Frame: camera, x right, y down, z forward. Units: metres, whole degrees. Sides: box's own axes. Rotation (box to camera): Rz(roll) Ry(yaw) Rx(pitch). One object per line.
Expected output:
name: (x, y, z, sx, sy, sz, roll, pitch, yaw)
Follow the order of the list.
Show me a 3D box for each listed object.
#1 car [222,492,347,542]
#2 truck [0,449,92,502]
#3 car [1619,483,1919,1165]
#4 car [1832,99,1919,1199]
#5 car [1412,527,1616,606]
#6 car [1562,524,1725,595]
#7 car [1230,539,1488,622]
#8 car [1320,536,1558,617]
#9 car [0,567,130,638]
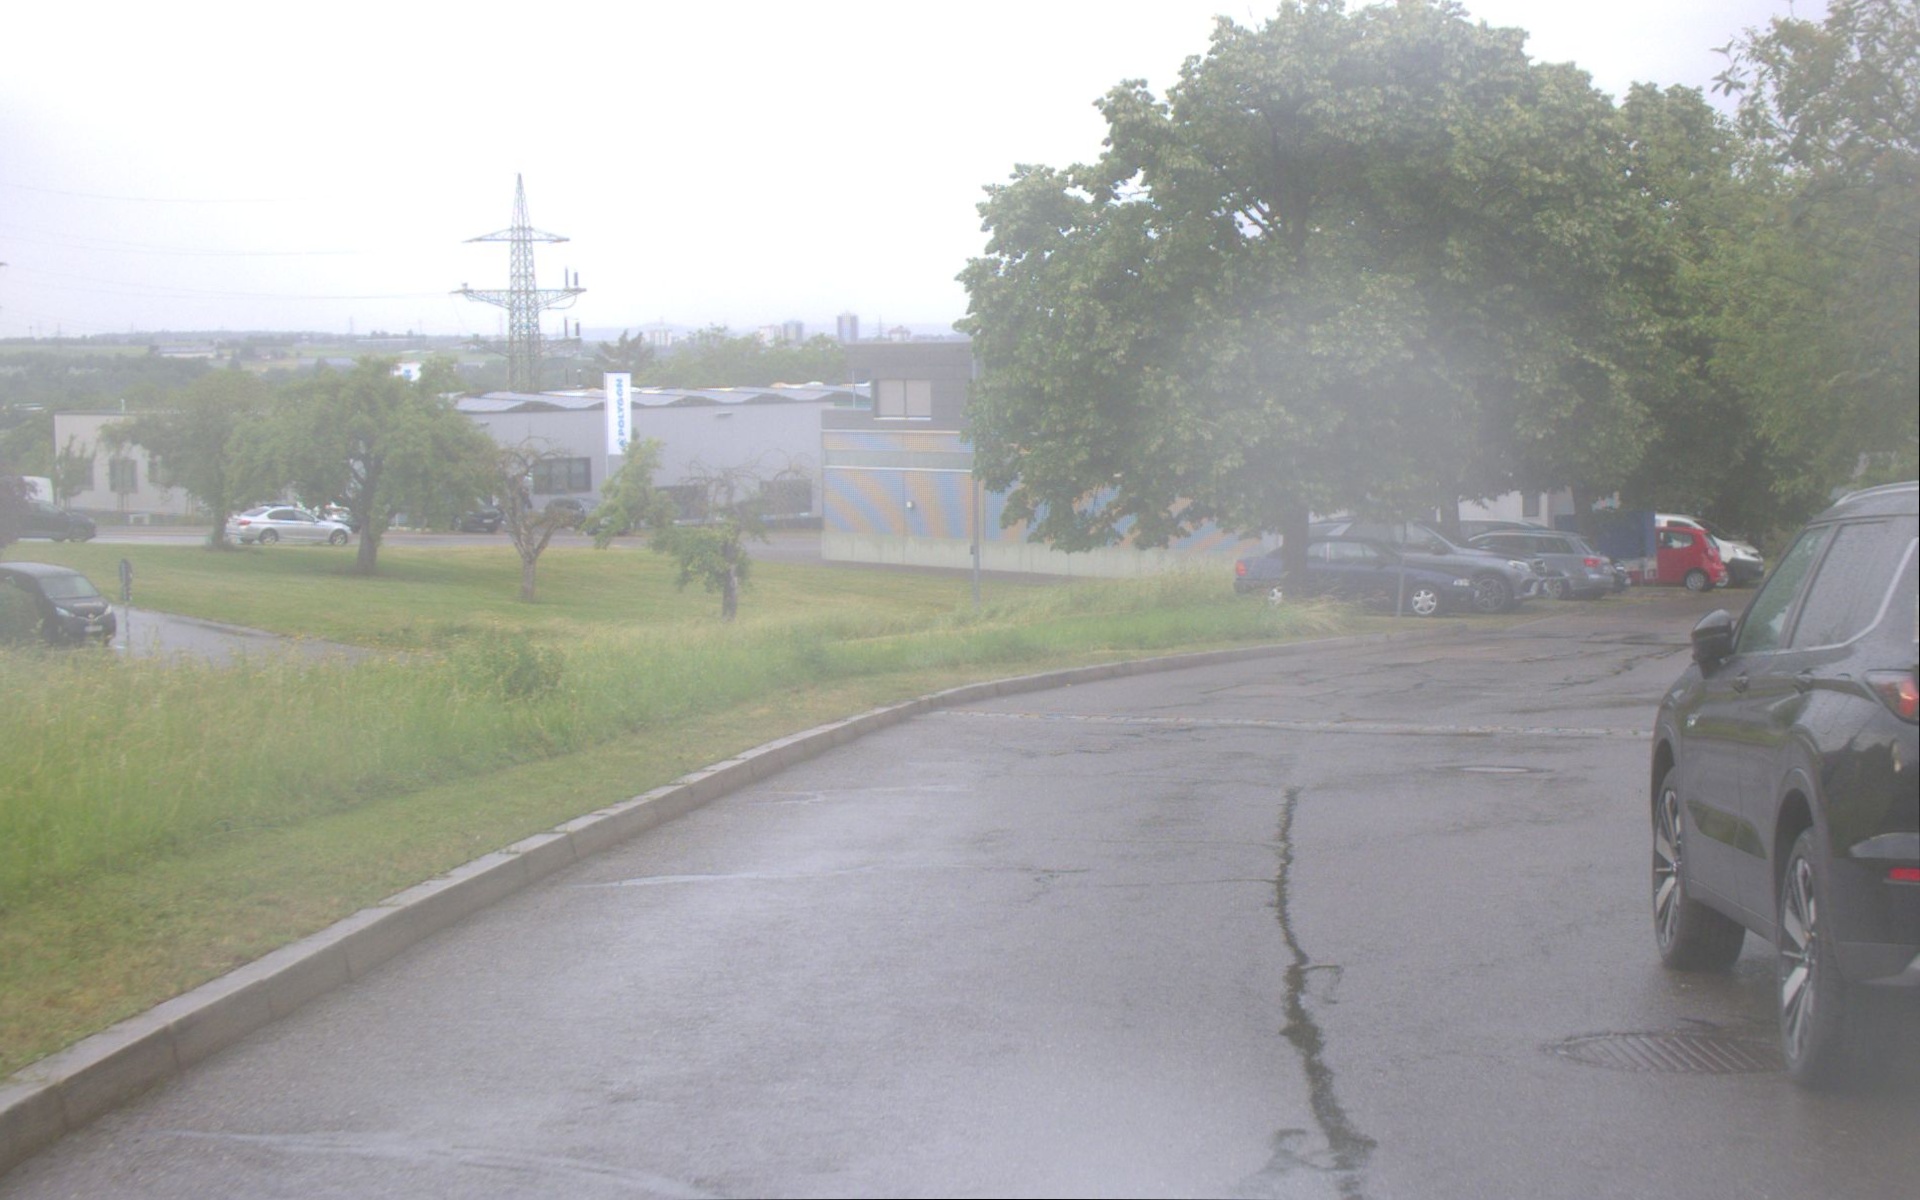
car: (-25.691, -3.152, 130.795, 4.262, 1.696, 1.797, 1, 3, -36)
truck: (-43.929, -5.889, 161.952, 5.312, 2.301, 2.435, 0, 4, -35)
car: (3.283, 0.508, 10.789, 1.809, 1.697, 4.598, 1, 2, 4)
car: (2.999, 0.250, 4.930, 2.118, 2.459, 5.510, 1, 1, 1)
car: (11.195, -0.696, 69.434, 3.873, 1.542, 1.772, 1, 1, 16)
car: (16.244, -0.956, 81.704, 3.565, 1.600, 1.691, -1, 1, 20)
car: (6.965, -0.342, 59.934, 4.169, 1.350, 1.861, -1, 1, 17)
car: (8.639, -0.426, 61.926, 3.990, 1.356, 1.853, -1, 1, 17)
car: (-22.506, 0.040, 85.882, 1.776, 1.591, 3.998, -2, 3, -41)
